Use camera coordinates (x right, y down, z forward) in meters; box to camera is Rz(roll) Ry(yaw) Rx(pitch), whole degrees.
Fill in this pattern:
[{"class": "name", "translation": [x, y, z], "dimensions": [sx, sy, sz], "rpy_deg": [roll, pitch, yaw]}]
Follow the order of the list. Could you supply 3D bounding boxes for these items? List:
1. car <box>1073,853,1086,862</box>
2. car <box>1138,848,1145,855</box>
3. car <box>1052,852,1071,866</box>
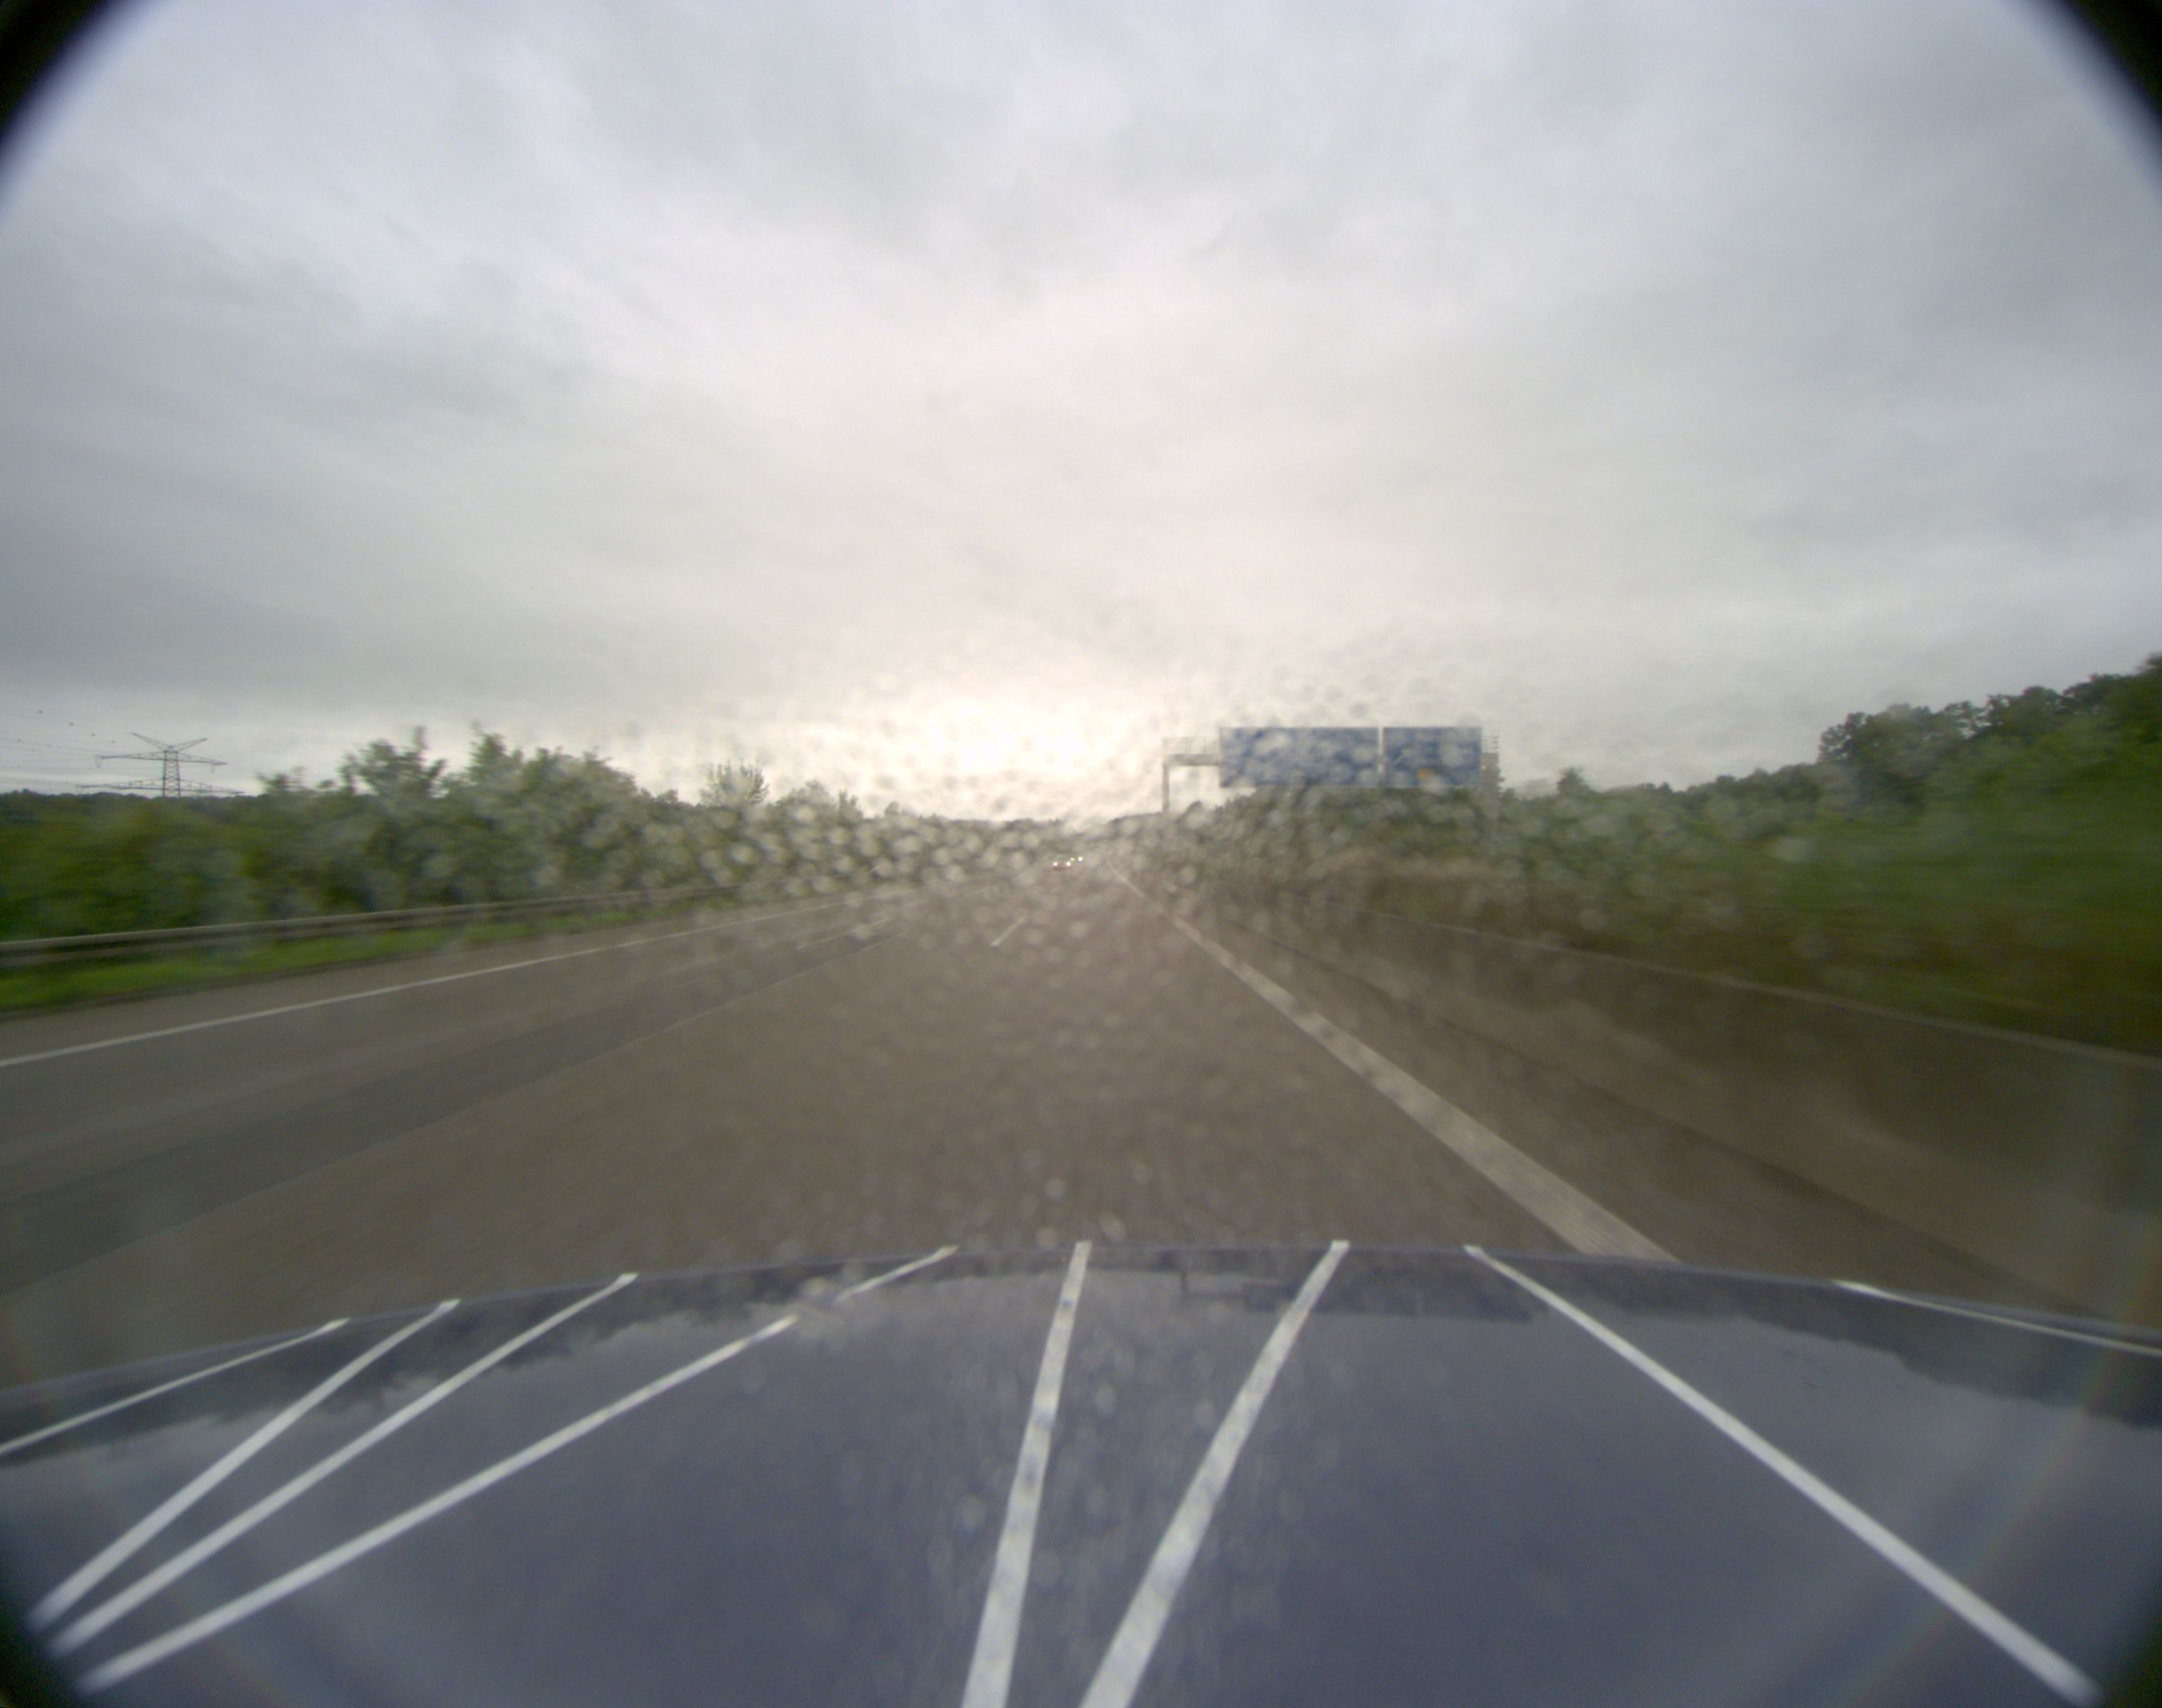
[{"class": "car", "translation": [-0.290, 0.603, 138.262], "dimensions": [2.008, 1.456, 4.001], "rpy_deg": [0, 1, 5]}, {"class": "car", "translation": [20.008, -0.896, 250.791], "dimensions": [2.281, 2.317, 6.176], "rpy_deg": [-1, 0, 4]}, {"class": "car", "translation": [-2.062, 0.563, 82.633], "dimensions": [1.932, 1.521, 4.297], "rpy_deg": [0, 0, 0]}]
